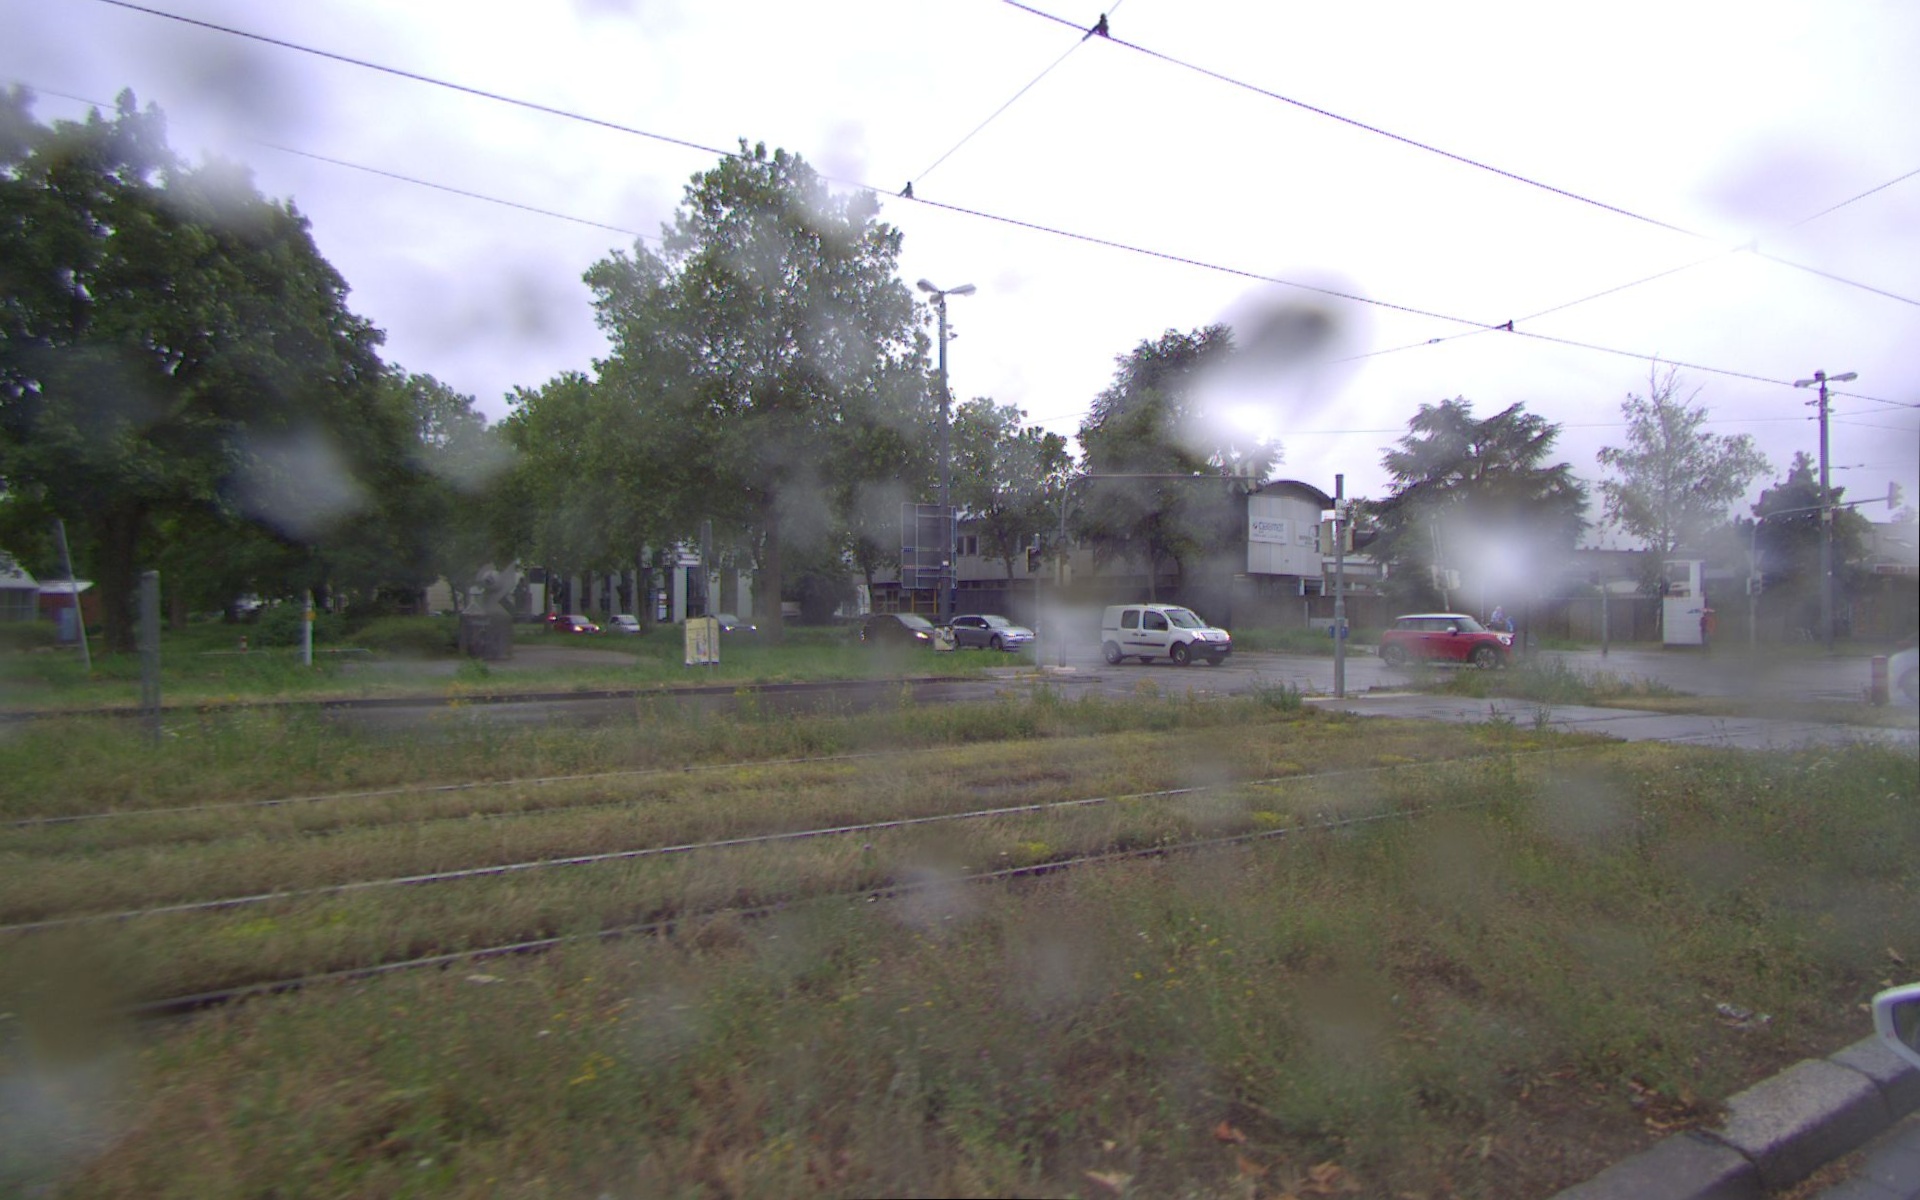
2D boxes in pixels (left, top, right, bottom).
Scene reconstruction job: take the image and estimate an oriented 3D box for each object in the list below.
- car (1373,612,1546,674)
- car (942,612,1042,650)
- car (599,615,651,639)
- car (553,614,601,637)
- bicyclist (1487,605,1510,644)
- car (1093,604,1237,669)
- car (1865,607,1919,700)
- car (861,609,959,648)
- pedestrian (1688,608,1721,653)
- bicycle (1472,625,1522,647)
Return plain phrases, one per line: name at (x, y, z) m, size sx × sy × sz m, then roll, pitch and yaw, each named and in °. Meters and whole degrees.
car at (13.350, 1.092, 27.000) m, size 1.639 × 1.519 × 3.873 m, roll -1°, pitch 0°, yaw -41°
car at (1.262, 1.272, 41.479) m, size 1.639 × 1.475 × 4.318 m, roll 1°, pitch -2°, yaw -41°
car at (-20.241, 1.613, 60.578) m, size 1.639 × 1.413 × 3.784 m, roll 1°, pitch -2°, yaw -41°
car at (-24.271, 1.605, 63.561) m, size 1.639 × 1.413 × 3.784 m, roll 1°, pitch -2°, yaw -41°
bicyclist at (24.231, 1.098, 45.181) m, size 0.635 × 1.705 × 0.680 m, roll 1°, pitch -1°, yaw -33°
car at (6.085, 1.036, 30.147) m, size 1.637 × 1.820 × 4.176 m, roll -1°, pitch 0°, yaw -38°
car at (17.232, 0.873, 15.927) m, size 1.636 × 1.518 × 4.038 m, roll 1°, pitch -2°, yaw -36°
car at (-2.059, 1.142, 40.107) m, size 1.639 × 1.475 × 4.318 m, roll 1°, pitch -2°, yaw -41°
pedestrian at (29.962, 1.239, 40.417) m, size 0.787 × 1.787 × 0.909 m, roll 0°, pitch -1°, yaw 16°
bicycle at (24.170, 1.609, 45.236) m, size 0.635 × 0.979 × 1.947 m, roll 1°, pitch -2°, yaw -33°
